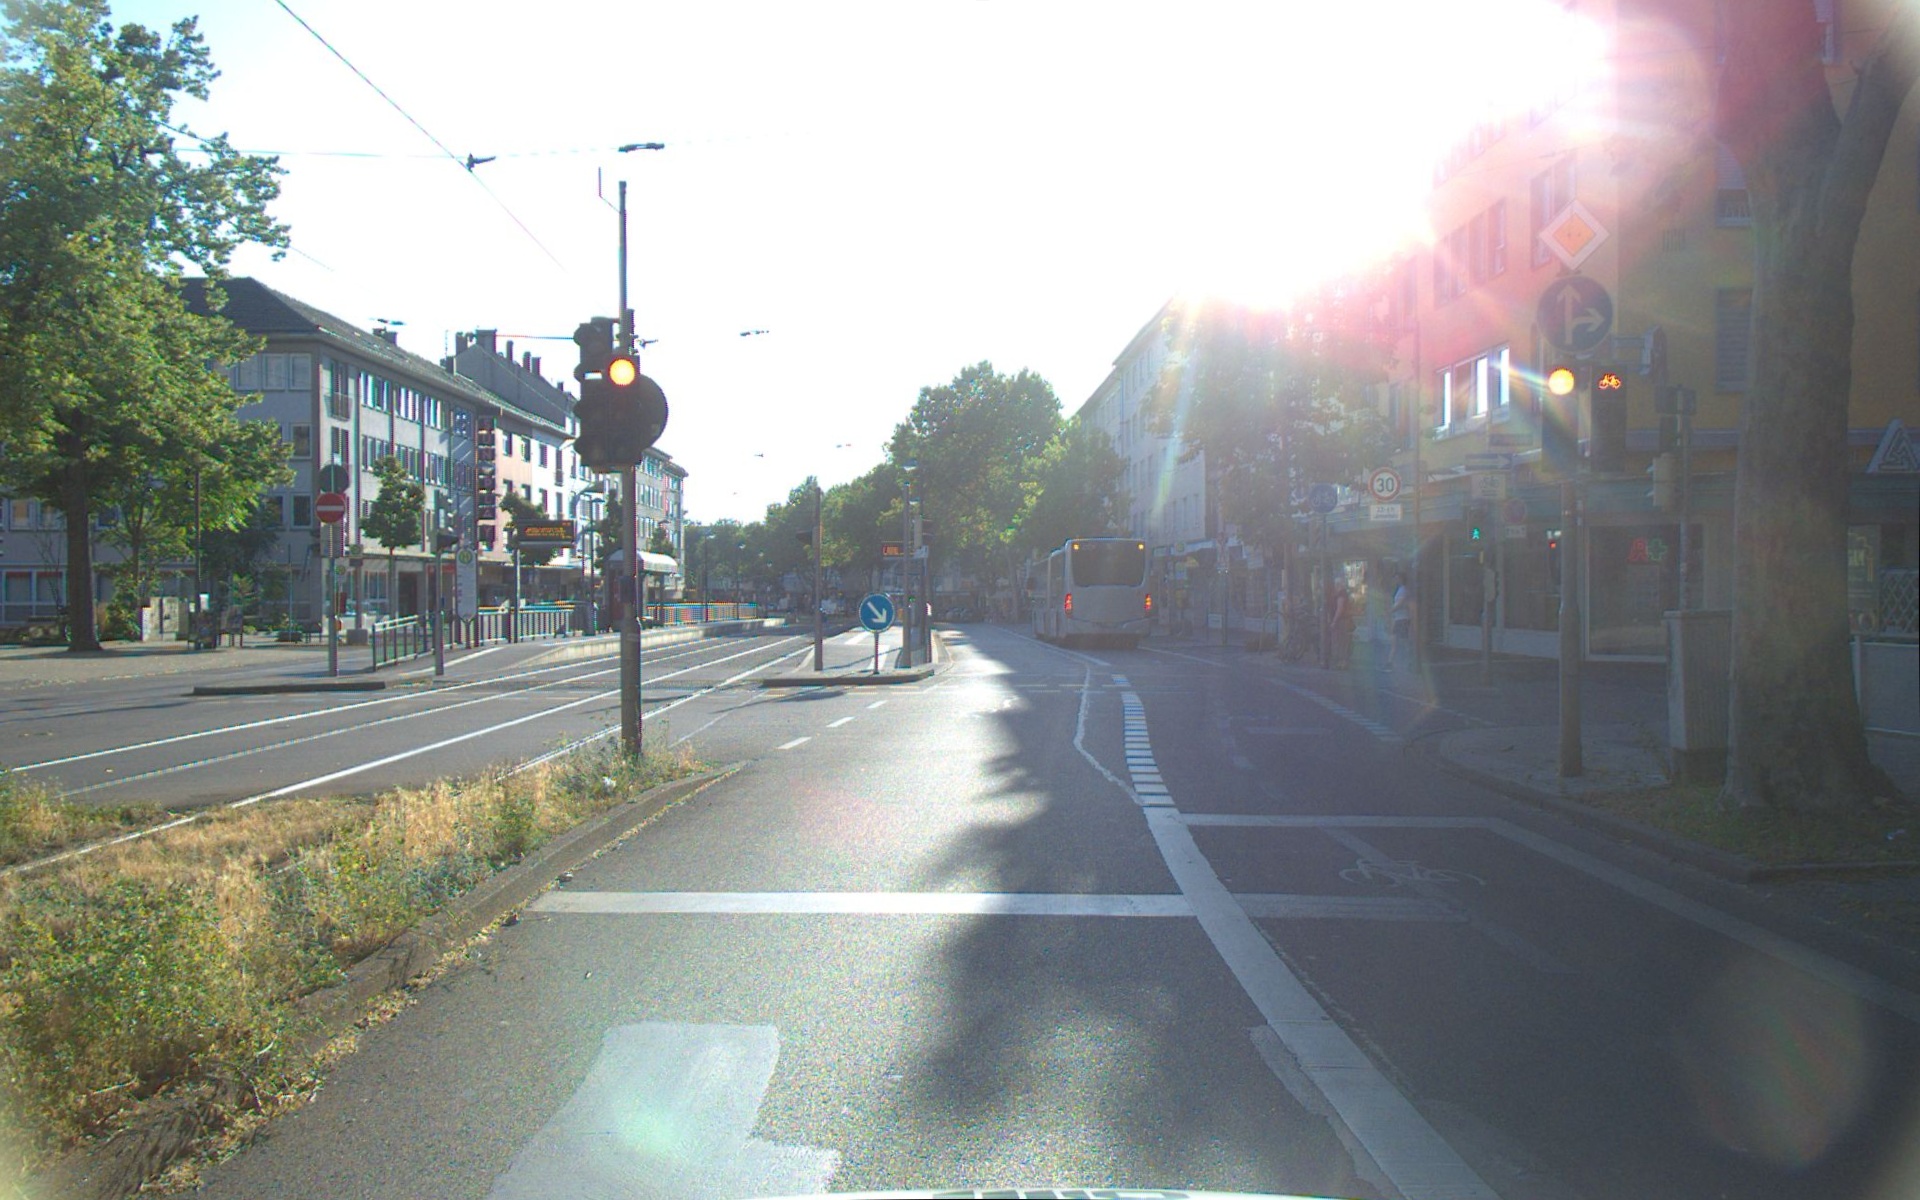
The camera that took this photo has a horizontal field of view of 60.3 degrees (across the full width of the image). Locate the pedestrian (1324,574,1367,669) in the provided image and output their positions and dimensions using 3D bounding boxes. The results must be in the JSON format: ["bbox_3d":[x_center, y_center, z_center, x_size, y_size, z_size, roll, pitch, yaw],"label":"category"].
[{"bbox_3d":[7.429,0.405,31.883,0.666,1.801,0.687,0,0,0],"label":"pedestrian"}]

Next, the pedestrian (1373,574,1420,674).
[{"bbox_3d":[7.974,0.425,30.216,0.666,1.801,0.687,0,0,0],"label":"pedestrian"}]

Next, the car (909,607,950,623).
[{"bbox_3d":[-3.155,1.508,170.538,3.848,1.624,1.675,0,0,-30],"label":"car"}]

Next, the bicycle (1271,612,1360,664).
[{"bbox_3d":[7.608,0.802,35.458,1.737,1.039,0.694,-2,0,-1],"label":"bicycle"}]

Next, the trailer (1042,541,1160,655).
[{"bbox_3d":[4.224,-0.054,51.386,2.755,3.164,8.793,2,0,-1],"label":"trailer"}]

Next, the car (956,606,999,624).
[{"bbox_3d":[1.698,1.436,162.760,3.848,1.729,1.815,0,0,-30],"label":"car"}]

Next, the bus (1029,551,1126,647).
[{"bbox_3d":[4.158,-0.030,60.338,2.755,3.156,9.093,2,0,-1],"label":"bus"}]
